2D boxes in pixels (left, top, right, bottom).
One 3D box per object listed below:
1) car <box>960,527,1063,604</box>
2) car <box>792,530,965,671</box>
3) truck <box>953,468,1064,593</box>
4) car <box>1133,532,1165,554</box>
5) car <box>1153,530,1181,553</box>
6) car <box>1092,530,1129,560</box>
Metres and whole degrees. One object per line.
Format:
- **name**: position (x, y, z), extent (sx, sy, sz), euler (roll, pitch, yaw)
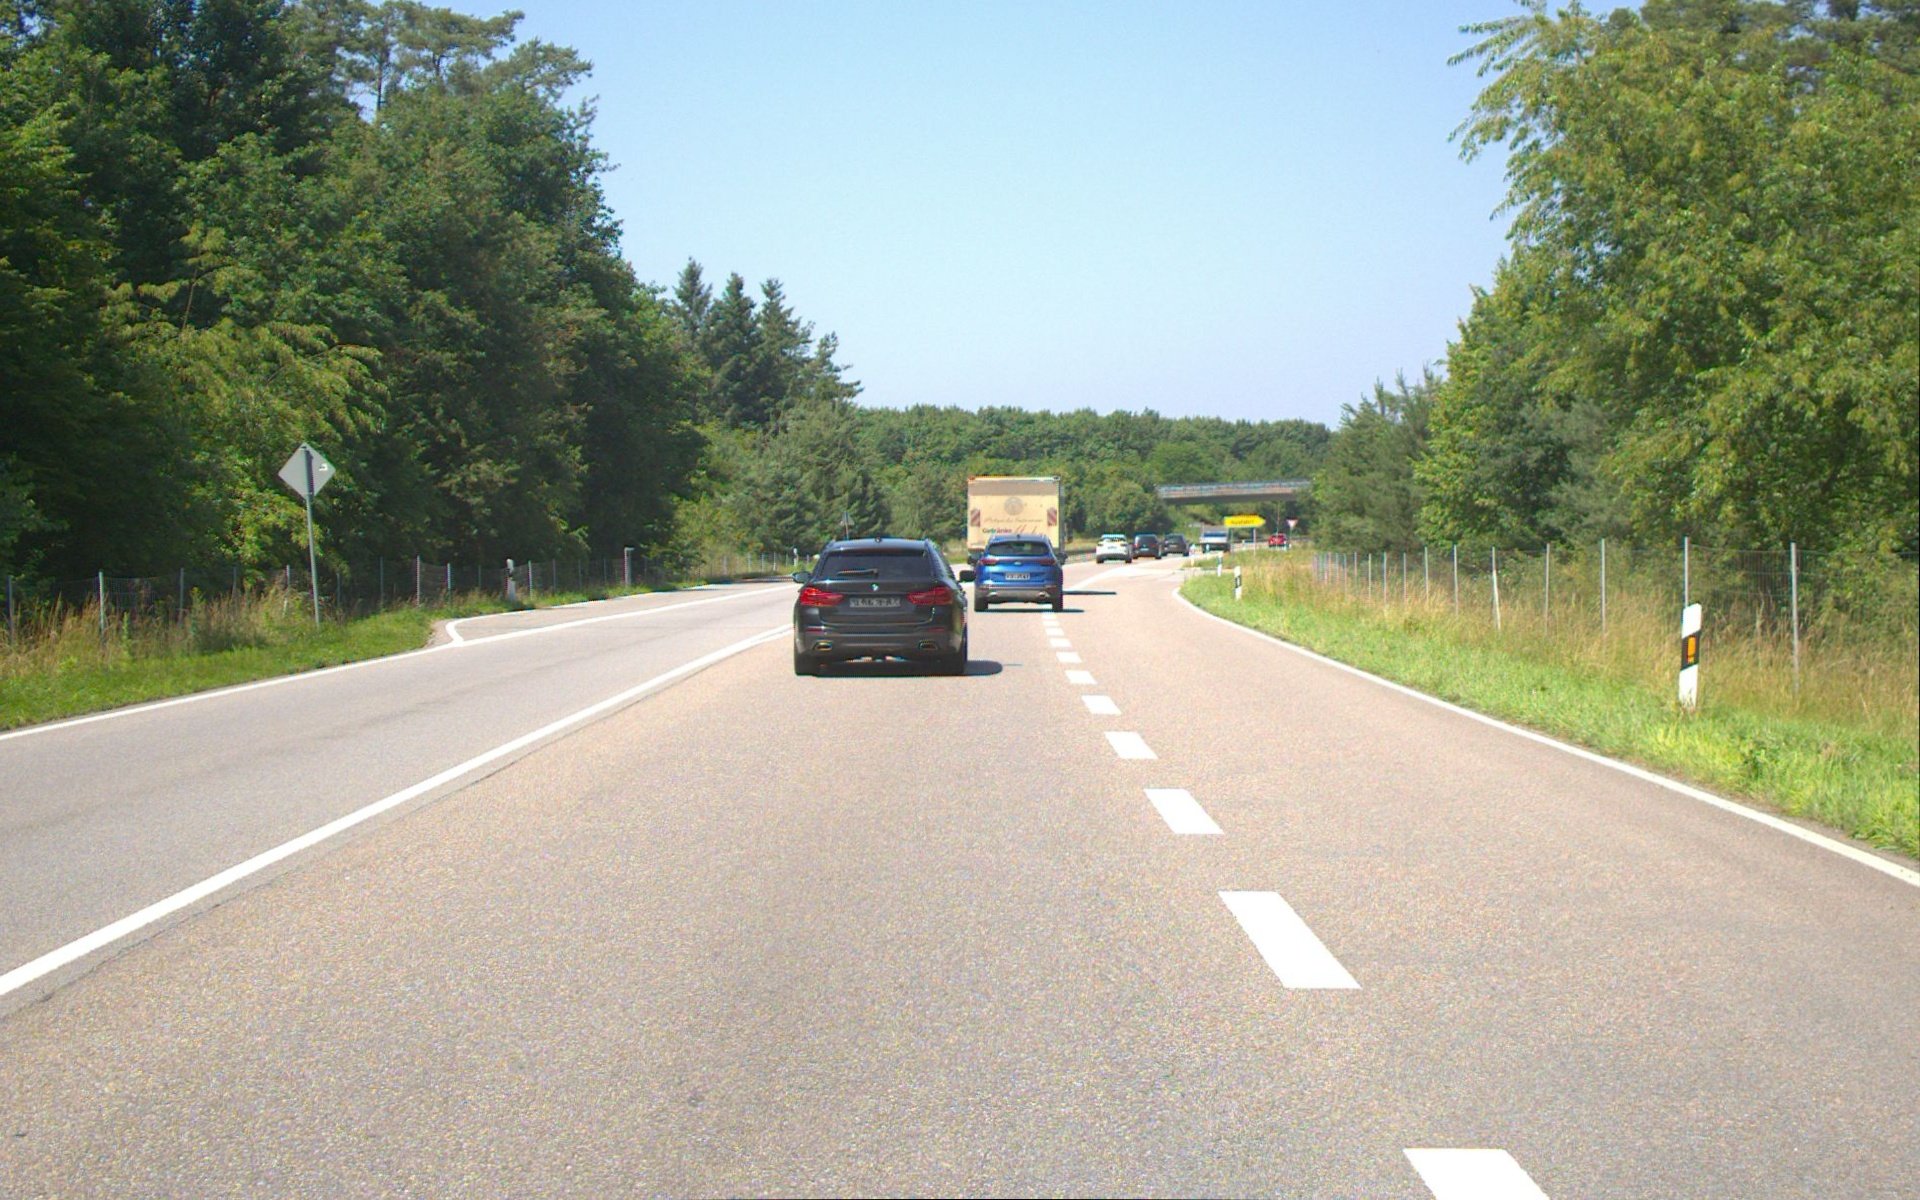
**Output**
- **car**: position (1.064, -0.743, 72.585), extent (1.947, 1.536, 4.001), euler (-1, 1, -2)
- **car**: position (-0.958, -0.032, 38.395), extent (1.820, 1.465, 4.001), euler (-1, 1, -3)
- **truck**: position (1.414, -1.960, 96.716), extent (2.966, 3.376, 6.438), euler (0, 1, 2)
- **car**: position (12.376, -3.727, 225.342), extent (1.994, 1.415, 4.000), euler (1, 1, 3)
- **car**: position (15.198, -4.275, 252.266), extent (1.994, 1.631, 4.000), euler (-1, 1, 4)
- **car**: position (8.573, -3.132, 196.031), extent (1.863, 1.600, 4.000), euler (-2, 1, 0)
